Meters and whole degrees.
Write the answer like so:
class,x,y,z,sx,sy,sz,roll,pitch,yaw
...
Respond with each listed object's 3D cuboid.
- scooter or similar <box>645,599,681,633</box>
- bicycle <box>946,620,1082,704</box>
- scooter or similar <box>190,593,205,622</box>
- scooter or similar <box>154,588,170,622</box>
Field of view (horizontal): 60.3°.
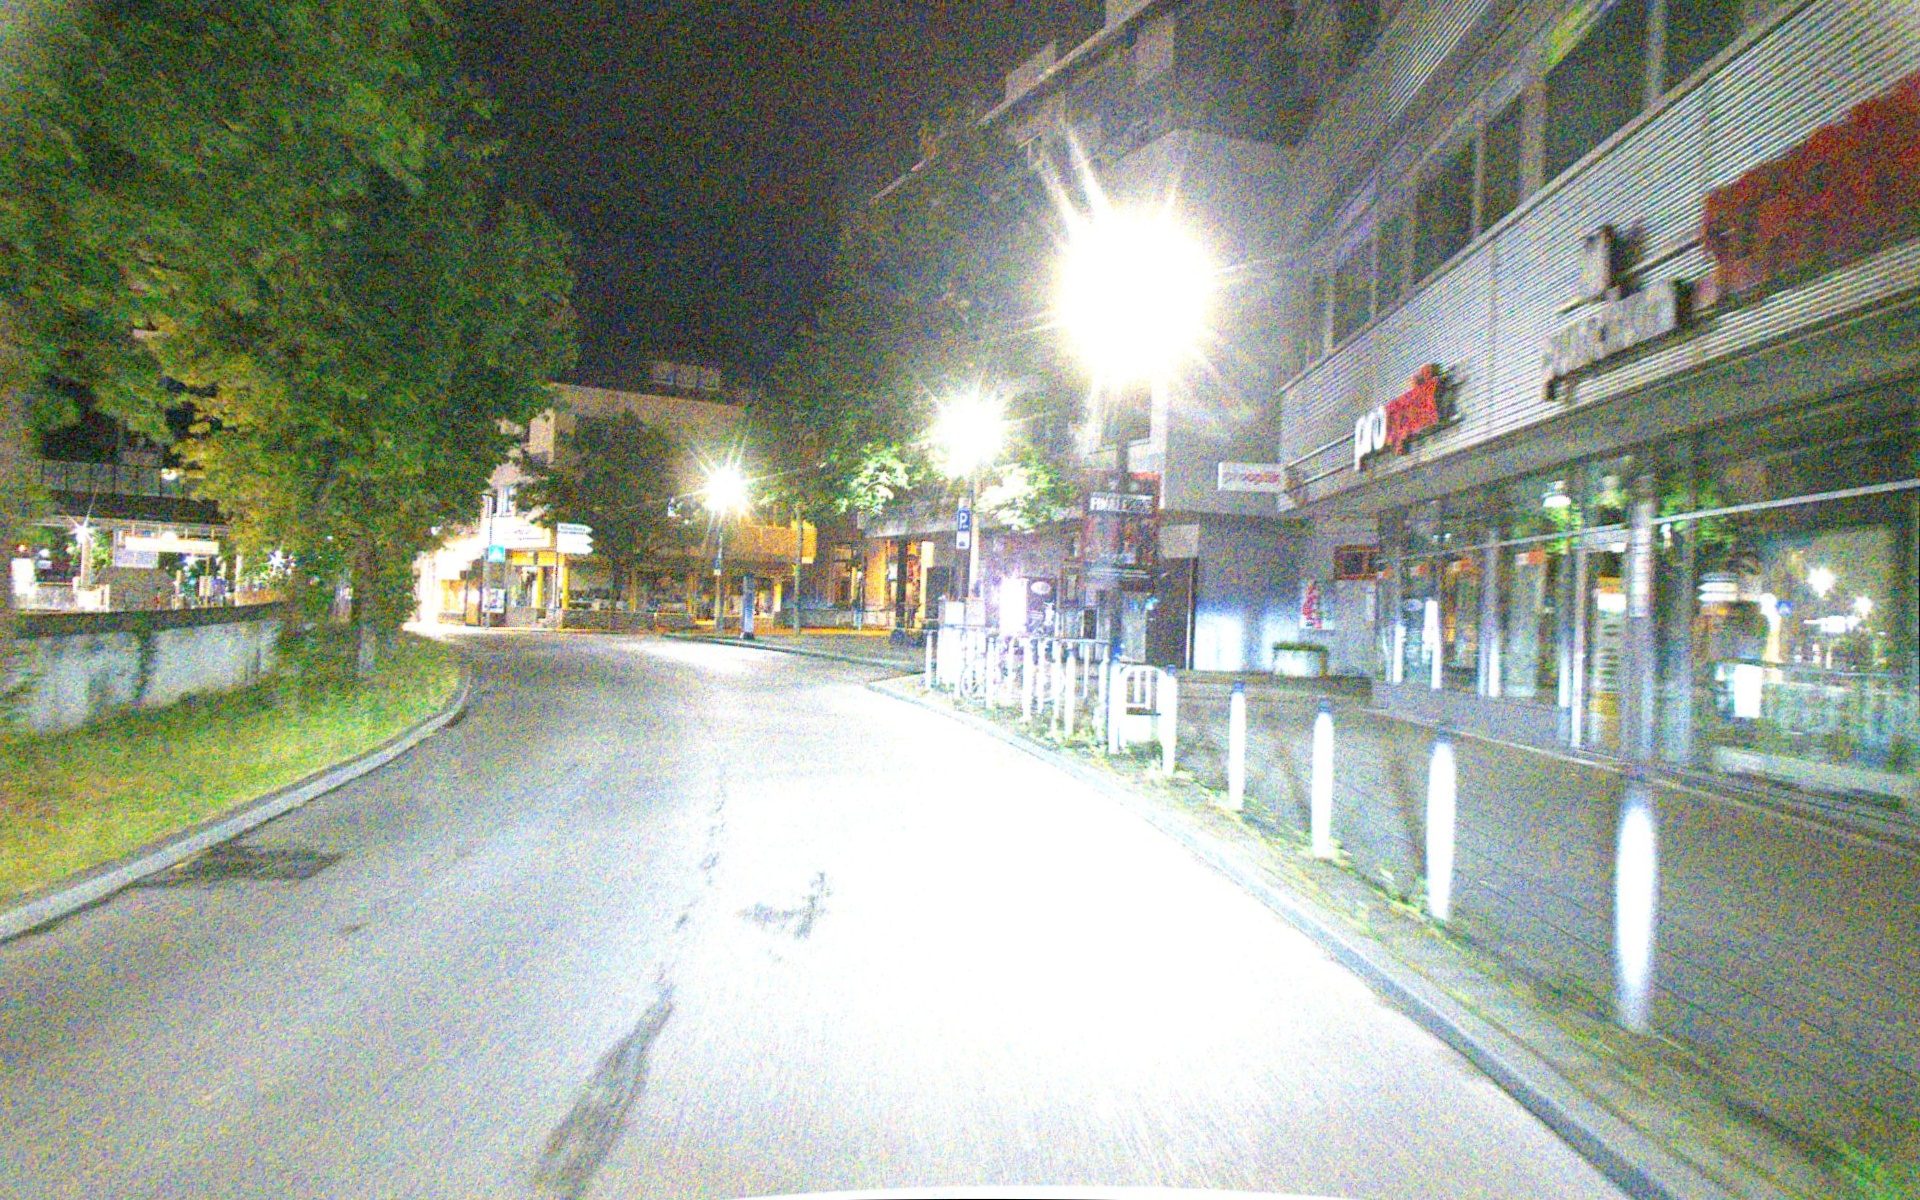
class,x,y,z,sx,sy,sz,roll,pitch,yaw
scooter or similar,-11.728,0.628,65.320,1.231,1.248,0.593,3,0,-26
bicycle,0.739,0.848,22.526,1.726,1.081,0.651,2,0,-24
scooter or similar,-30.922,0.290,67.043,0.426,1.154,0.993,1,1,-32
scooter or similar,-31.998,0.204,66.312,0.426,1.307,1.134,1,1,-32
